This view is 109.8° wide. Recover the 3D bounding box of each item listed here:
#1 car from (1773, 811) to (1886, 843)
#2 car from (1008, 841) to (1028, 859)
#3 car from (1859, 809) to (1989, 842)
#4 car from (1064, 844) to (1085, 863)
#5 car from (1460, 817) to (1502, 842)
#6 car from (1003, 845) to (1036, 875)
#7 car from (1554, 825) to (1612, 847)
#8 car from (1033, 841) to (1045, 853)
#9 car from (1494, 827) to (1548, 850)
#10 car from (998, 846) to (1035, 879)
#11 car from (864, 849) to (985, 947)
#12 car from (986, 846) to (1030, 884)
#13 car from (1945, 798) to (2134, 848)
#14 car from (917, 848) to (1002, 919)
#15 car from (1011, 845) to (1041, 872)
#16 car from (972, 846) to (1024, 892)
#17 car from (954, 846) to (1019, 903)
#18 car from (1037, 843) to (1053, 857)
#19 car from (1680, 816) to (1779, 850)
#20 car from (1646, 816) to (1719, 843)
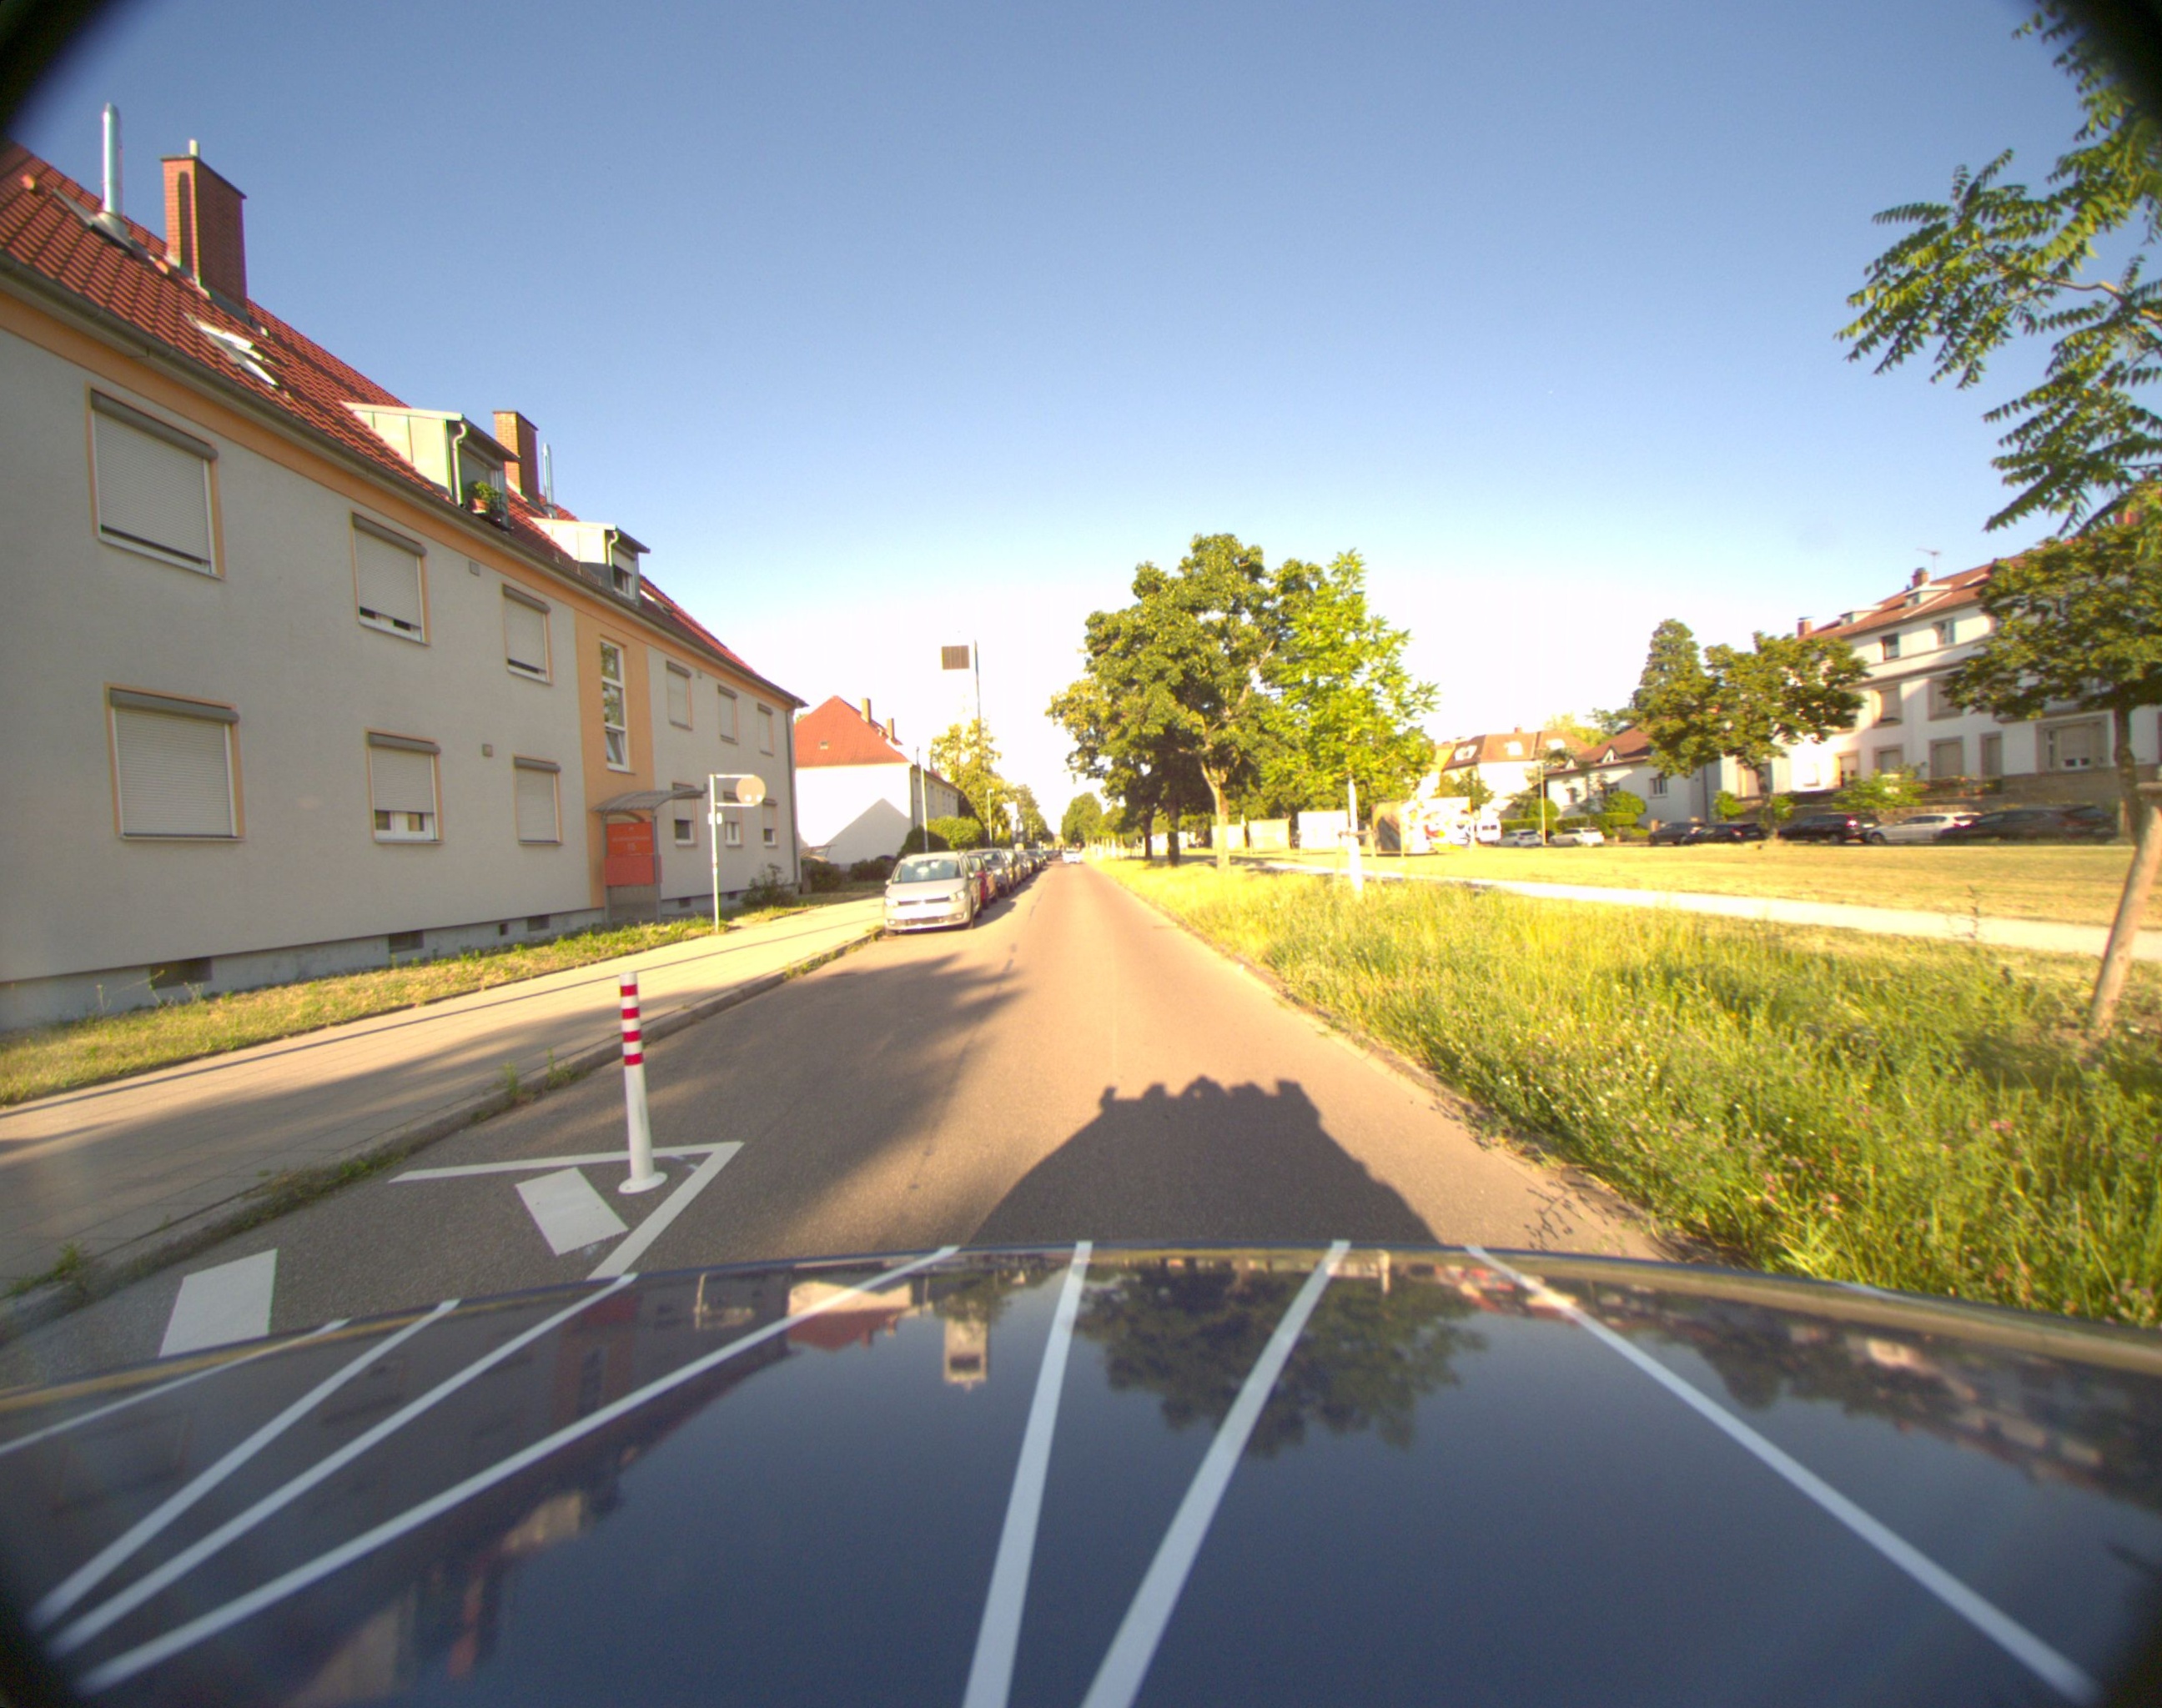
[{"bbox_3d":[39.552,-1.392,40.298,1.825,1.571,4.161,-3,1,-1],"label":"car"},{"bbox_3d":[-6.564,-0.476,79.452,1.850,1.686,3.998,-4,1,-3],"label":"car"},{"bbox_3d":[39.616,-1.297,35.863,1.641,1.438,4.007,-2,1,-2],"label":"car"},{"bbox_3d":[-0.707,-0.105,76.449,1.870,1.686,4.299,-4,1,-3],"label":"car"},{"bbox_3d":[38.735,-2.347,73.663,1.998,2.201,4.131,-3,1,2],"label":"car"},{"bbox_3d":[-3.888,0.346,48.736,1.850,1.686,3.998,-4,1,-3],"label":"car"},{"bbox_3d":[39.317,-1.418,59.647,1.825,1.571,3.966,-3,1,-1],"label":"car"},{"bbox_3d":[-6.967,-1.151,125.104,1.850,1.686,3.998,-4,1,-3],"label":"car"},{"bbox_3d":[33.429,-1.180,57.853,1.825,1.571,3.835,-3,1,-1],"label":"car"},{"bbox_3d":[-3.654,0.444,43.484,1.850,1.686,3.998,-4,1,-3],"label":"car"},{"bbox_3d":[-3.212,0.822,16.430,1.850,1.686,3.998,-4,1,-3],"label":"car"},{"bbox_3d":[-3.593,0.502,38.037,1.850,1.686,3.998,-4,1,-3],"label":"car"},{"bbox_3d":[33.718,-1.045,26.905,1.825,1.571,3.835,-3,1,-1],"label":"car"},{"bbox_3d":[-3.354,0.753,21.687,1.850,1.686,3.998,-4,1,-3],"label":"car"},{"bbox_3d":[-3.835,0.294,53.486,1.850,1.686,3.998,-4,1,-3],"label":"car"},{"bbox_3d":[-3.419,0.573,31.967,1.850,1.686,3.998,-4,1,-3],"label":"car"},{"bbox_3d":[-3.233,0.654,26.662,1.850,1.686,3.998,-4,1,-3],"label":"car"},{"bbox_3d":[-4.684,-0.528,99.207,1.850,1.686,3.998,-4,1,-3],"label":"car"},{"bbox_3d":[33.704,-1.066,39.628,1.825,1.571,3.835,-3,1,-1],"label":"car"},{"bbox_3d":[39.310,-1.560,49.762,1.642,1.652,3.999,-3,1,1],"label":"car"}]
